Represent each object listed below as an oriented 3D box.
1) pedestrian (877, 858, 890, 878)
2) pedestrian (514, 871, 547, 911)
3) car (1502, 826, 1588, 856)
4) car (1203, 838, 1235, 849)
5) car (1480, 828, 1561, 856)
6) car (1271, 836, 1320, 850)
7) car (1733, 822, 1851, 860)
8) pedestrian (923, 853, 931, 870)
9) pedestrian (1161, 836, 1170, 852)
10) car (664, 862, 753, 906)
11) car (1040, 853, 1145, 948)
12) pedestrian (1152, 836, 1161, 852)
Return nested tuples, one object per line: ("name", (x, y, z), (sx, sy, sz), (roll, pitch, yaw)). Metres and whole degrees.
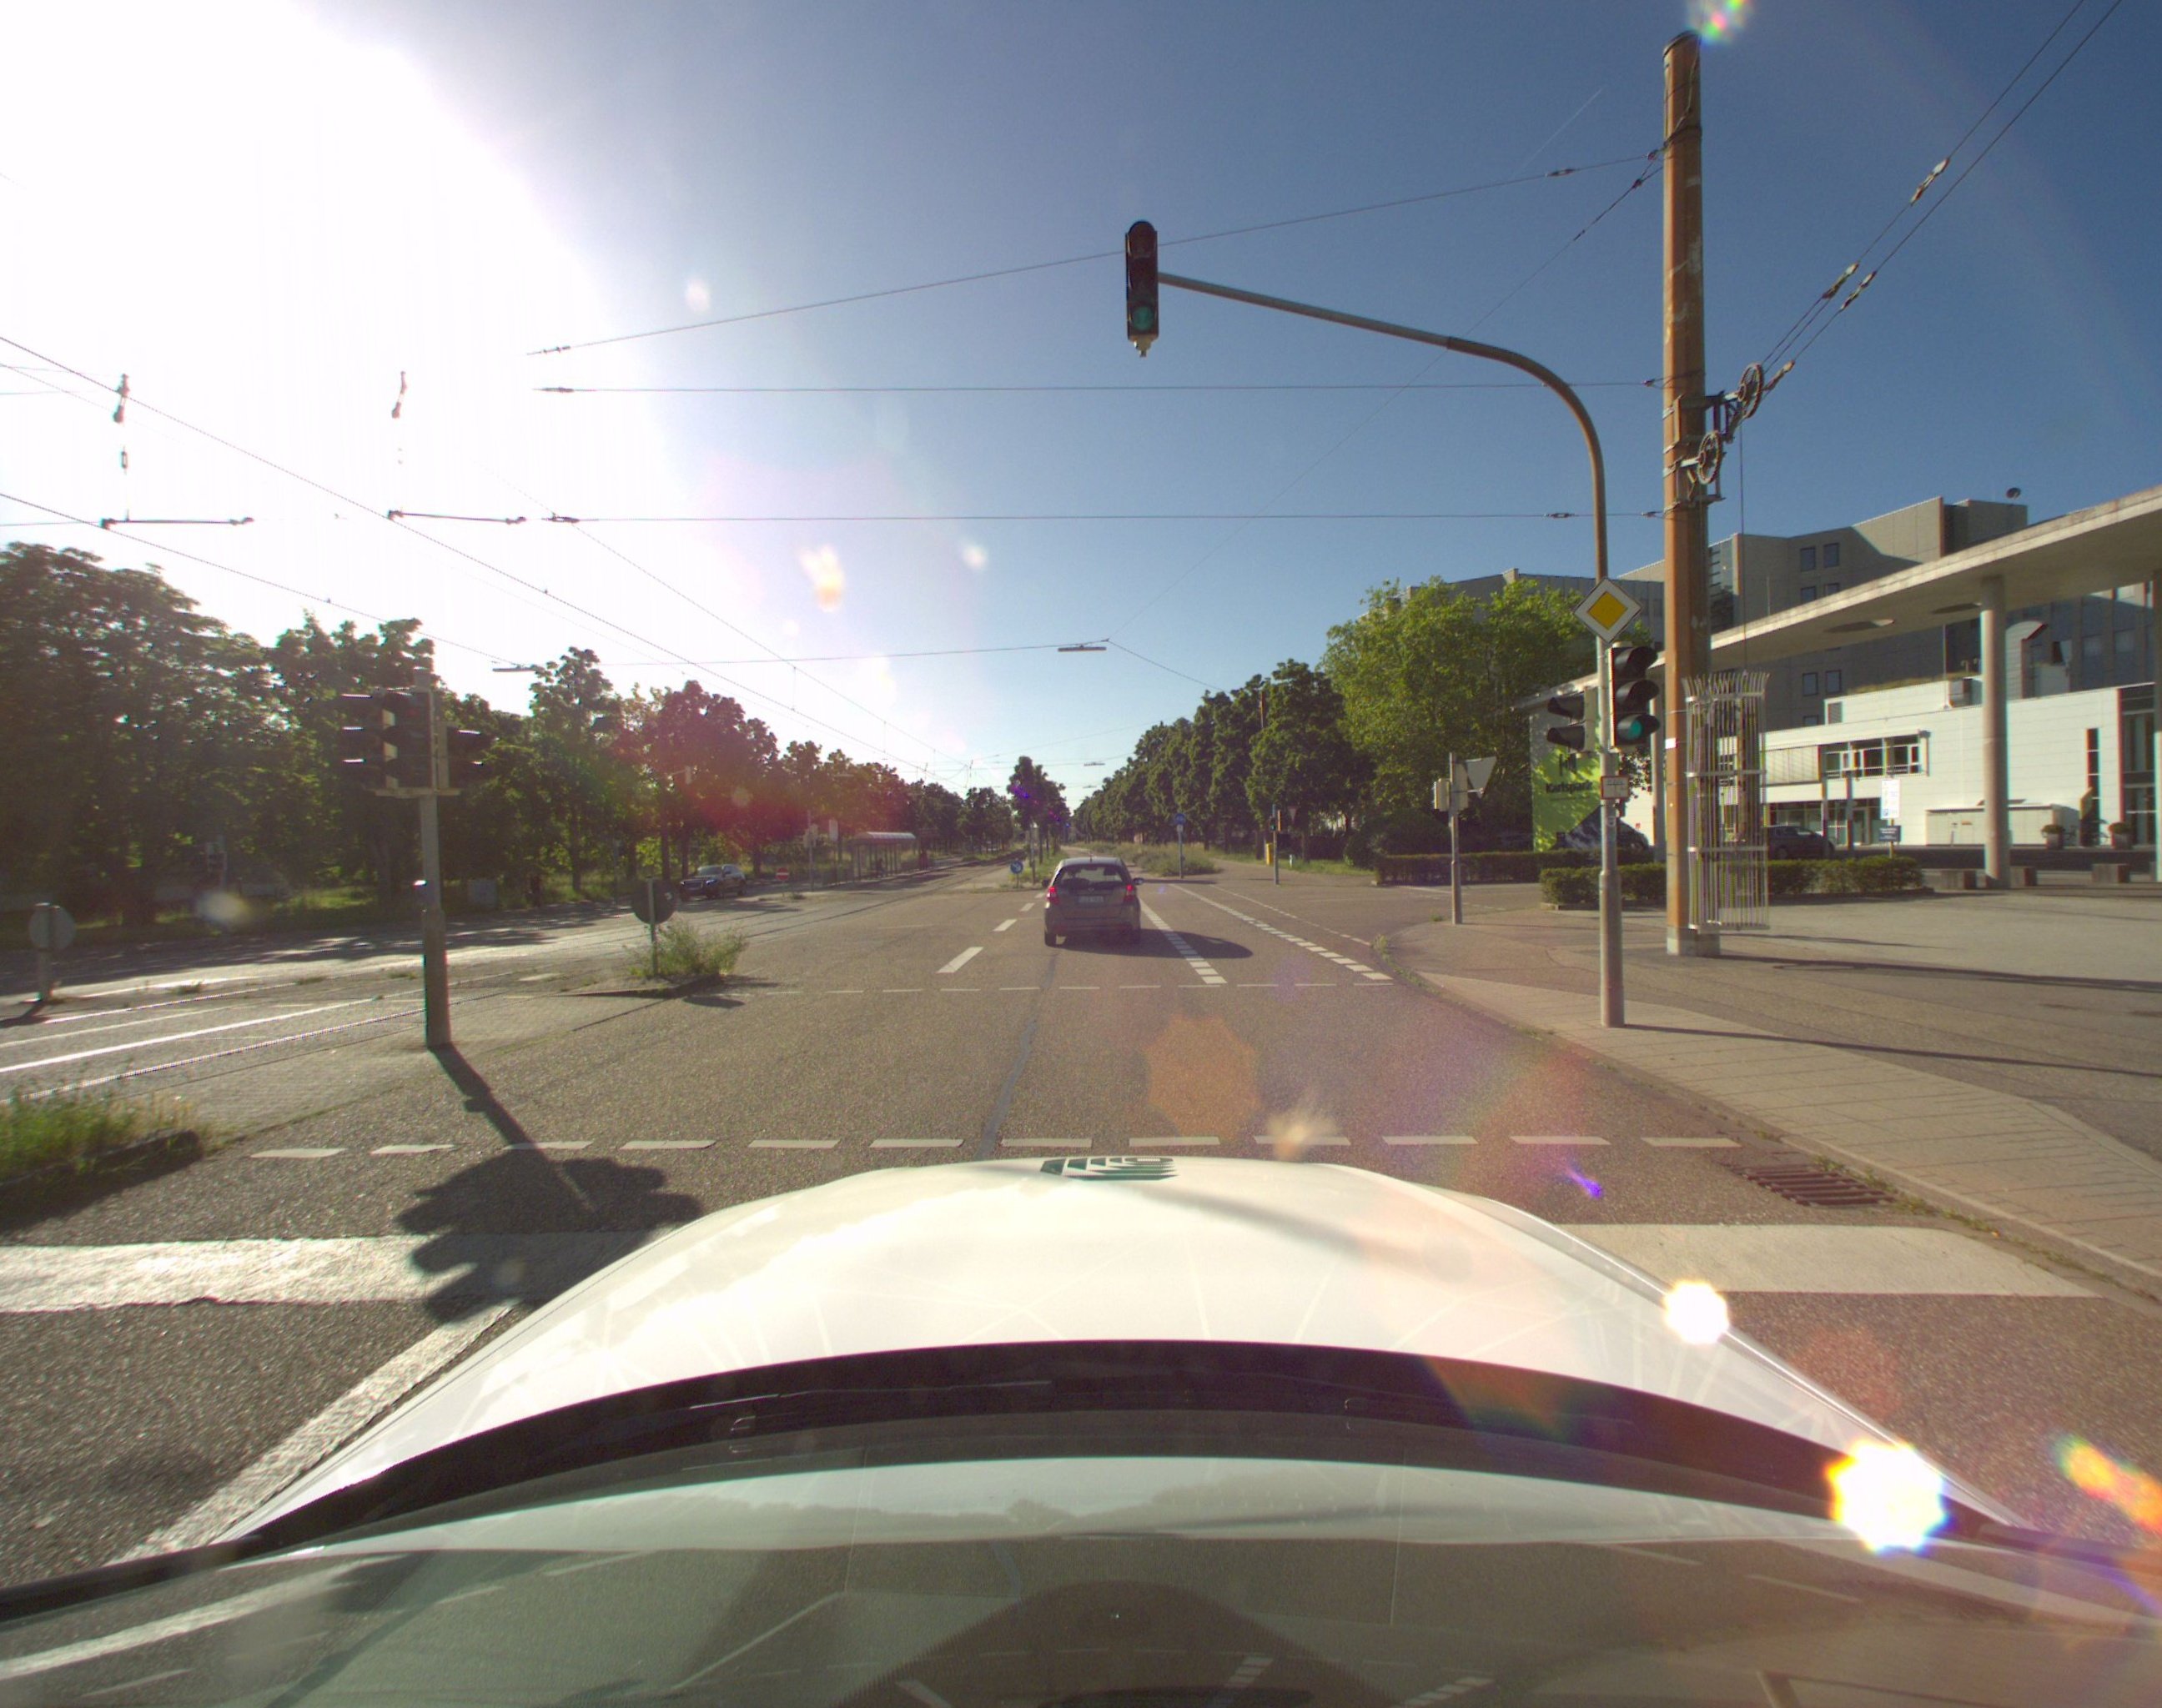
("pedestrian", (-13.047, 0.941, 53.793), (0.562, 1.257, 0.581), (-4, 0, 0))
("pedestrian", (-25.354, 1.698, 37.512), (0.751, 1.734, 0.943), (-2, 0, 30))
("car", (29.619, -0.827, 52.042), (4.448, 1.686, 1.892), (-2, 0, -5))
("car", (22.396, -1.759, 132.162), (4.623, 1.555, 1.997), (-2, 0, -5))
("car", (29.428, -0.784, 54.611), (4.448, 1.686, 1.892), (-2, 0, -5))
("car", (23.251, -1.213, 88.301), (4.625, 1.327, 2.105), (-2, 1, 36))
("car", (32.766, -0.587, 37.601), (3.984, 1.578, 1.949), (-2, 0, -8))
("pedestrian", (-12.923, 0.620, 68.363), (0.542, 1.447, 0.559), (-3, 0, 1))
("pedestrian", (10.026, -1.197, 96.791), (0.880, 1.884, 0.875), (-2, 0, -2))
("car", (-18.344, 1.424, 40.366), (2.087, 1.810, 4.792), (-4, 1, 0))
("car", (0.245, 0.783, 15.300), (1.695, 1.524, 3.710), (-1, -1, 1))
("pedestrian", (8.989, -1.177, 96.787), (0.880, 1.884, 0.875), (-2, 0, -2))
